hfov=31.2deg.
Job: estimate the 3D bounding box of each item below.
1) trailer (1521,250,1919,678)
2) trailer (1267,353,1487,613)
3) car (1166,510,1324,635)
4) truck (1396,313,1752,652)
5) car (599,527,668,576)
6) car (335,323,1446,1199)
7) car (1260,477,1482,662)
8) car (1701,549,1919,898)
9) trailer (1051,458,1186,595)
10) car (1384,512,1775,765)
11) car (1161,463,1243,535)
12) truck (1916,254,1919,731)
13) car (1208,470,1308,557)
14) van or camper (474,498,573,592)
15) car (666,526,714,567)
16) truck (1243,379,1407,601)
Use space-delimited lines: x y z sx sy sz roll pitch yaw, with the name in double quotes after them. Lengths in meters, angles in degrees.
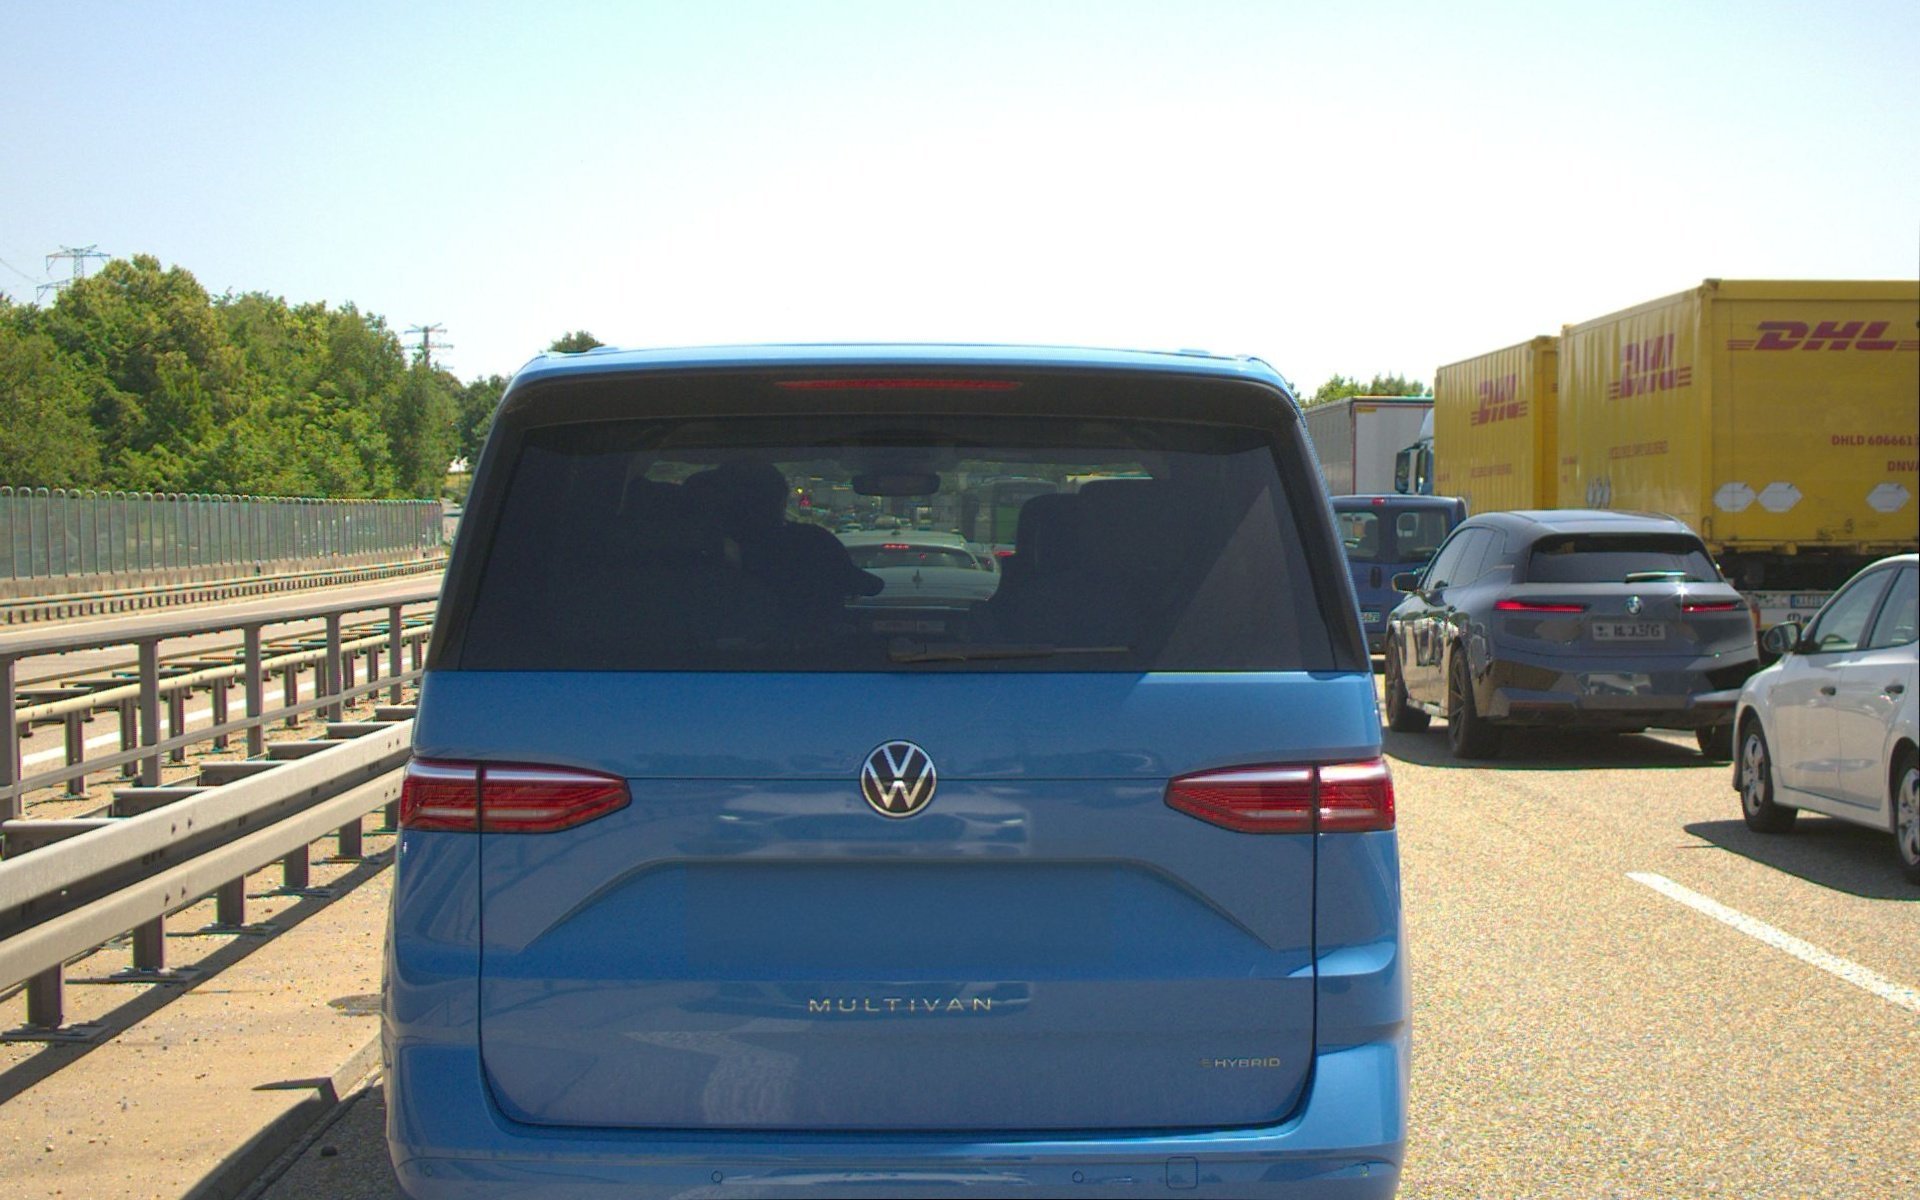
8.578 -1.410 38.737 2.864 4.224 9.012 1 1 -1 "trailer"
7.775 -2.150 65.616 2.637 4.501 11.302 1 1 -1 "trailer"
4.252 -0.445 51.850 1.993 1.809 4.000 0 1 -1 "car"
8.424 -1.563 48.764 2.836 4.228 11.011 1 1 -1 "truck"
-11.143 -1.668 117.530 1.867 1.526 4.425 -4 1 0 "car"
-0.138 0.447 7.728 1.820 1.851 4.075 1 1 -1 "car"
4.617 -0.367 39.165 1.962 1.986 4.293 0 1 -1 "car"
4.921 0.493 16.404 1.788 1.450 4.293 0 1 -1 "car"
3.621 -1.677 80.735 2.569 2.980 10.663 1 1 0 "trailer"
4.290 0.206 24.489 1.962 1.639 4.293 0 1 -1 "car"
7.002 -2.910 99.934 1.993 2.007 4.461 -1 1 -1 "car"
8.752 -0.706 20.821 2.656 3.635 11.012 0 1 -1 "truck"
7.101 -2.043 82.300 1.993 2.007 4.000 1 1 -1 "car"
-14.745 -1.874 116.565 2.422 3.013 7.027 -2 1 0 "van or camper"
-12.374 -2.470 157.806 1.867 1.694 4.431 -2 2 -1 "car"
7.680 -2.270 73.116 2.667 4.469 6.850 1 1 0 "truck"
